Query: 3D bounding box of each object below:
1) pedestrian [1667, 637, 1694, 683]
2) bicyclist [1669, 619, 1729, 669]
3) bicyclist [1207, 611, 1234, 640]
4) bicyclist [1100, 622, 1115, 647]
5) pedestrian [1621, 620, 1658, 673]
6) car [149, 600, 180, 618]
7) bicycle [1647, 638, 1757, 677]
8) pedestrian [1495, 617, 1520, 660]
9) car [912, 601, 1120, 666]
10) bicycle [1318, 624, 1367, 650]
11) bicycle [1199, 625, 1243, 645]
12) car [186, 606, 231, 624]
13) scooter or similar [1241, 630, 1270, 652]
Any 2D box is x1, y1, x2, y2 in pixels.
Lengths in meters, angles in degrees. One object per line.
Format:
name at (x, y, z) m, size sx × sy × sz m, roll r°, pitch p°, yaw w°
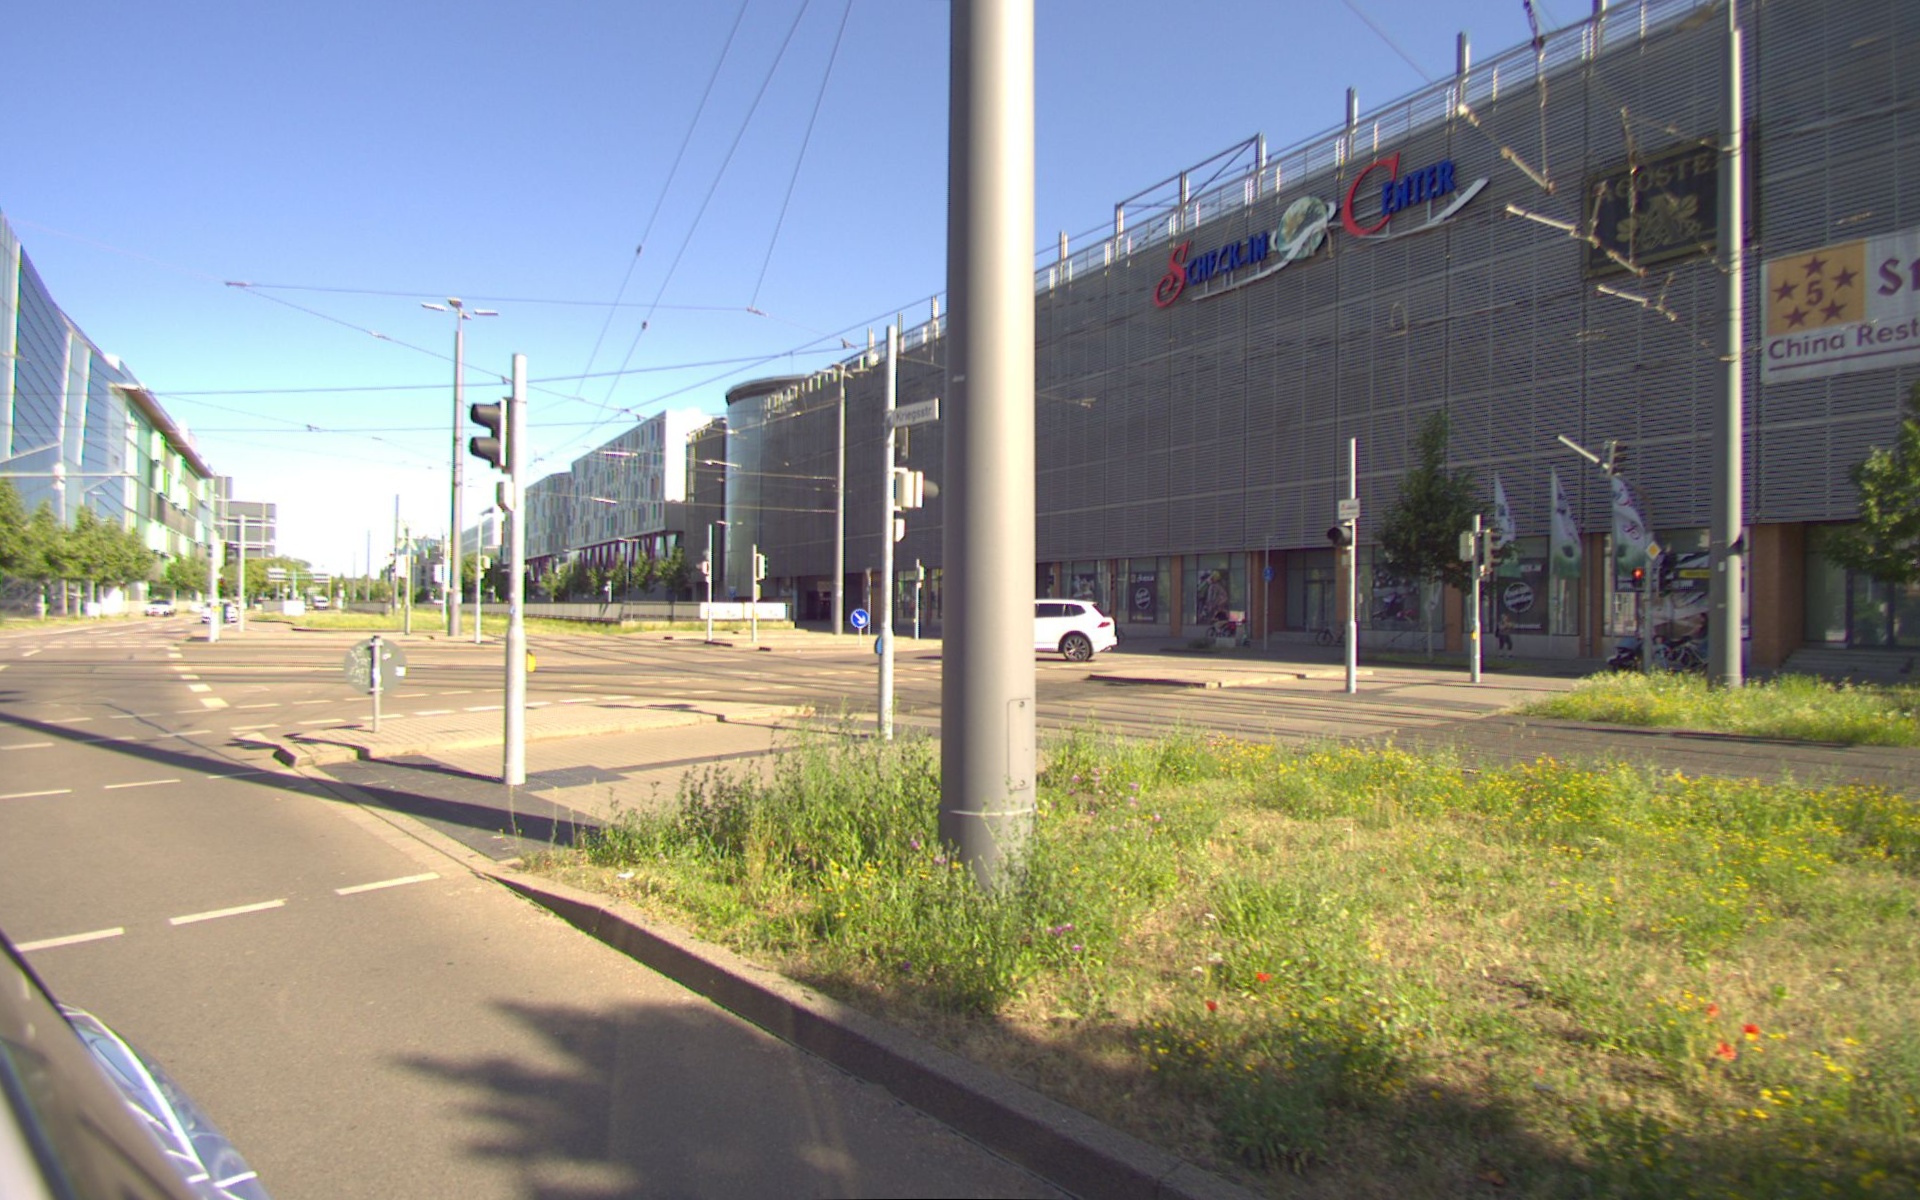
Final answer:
pedestrian at (19.801, 1.643, 27.802) m, size 0.391 × 1.238 × 0.450 m, roll 1°, pitch -1°, yaw -9°
bicyclist at (21.855, 1.285, 29.929) m, size 0.584 × 1.418 × 1.316 m, roll 1°, pitch -1°, yaw -33°
bicyclist at (12.023, 1.186, 46.701) m, size 0.671 × 1.328 × 1.042 m, roll 1°, pitch -1°, yaw -35°
bicyclist at (6.887, 1.592, 47.240) m, size 0.560 × 1.148 × 0.555 m, roll 0°, pitch -1°, yaw 23°
pedestrian at (19.612, 1.327, 29.203) m, size 0.481 × 1.498 × 0.743 m, roll 1°, pitch -1°, yaw -25°
car at (-76.697, 0.885, 97.634) m, size 1.966 × 1.741 × 4.011 m, roll 1°, pitch -1°, yaw -33°
bicycle at (21.877, 1.671, 29.910) m, size 0.588 × 1.018 × 2.576 m, roll 1°, pitch -1°, yaw -33°
pedestrian at (19.784, 1.398, 36.560) m, size 0.483 × 1.530 × 0.651 m, roll 1°, pitch -1°, yaw -30°
car at (1.563, 0.882, 27.934) m, size 5.493 × 1.664 × 1.806 m, roll 0°, pitch -1°, yaw 14°
bicycle at (16.296, 1.560, 43.182) m, size 0.564 × 1.046 × 1.955 m, roll 1°, pitch -1°, yaw -38°
bicycle at (12.030, 1.605, 46.690) m, size 0.671 × 0.874 × 2.053 m, roll 1°, pitch -1°, yaw -35°
car at (-46.105, 0.921, 62.172) m, size 1.966 × 1.098 × 4.011 m, roll 1°, pitch -1°, yaw -33°
scooter or similar at (12.230, 1.693, 41.937) m, size 0.296 × 0.857 × 1.229 m, roll 1°, pitch -1°, yaw -37°
